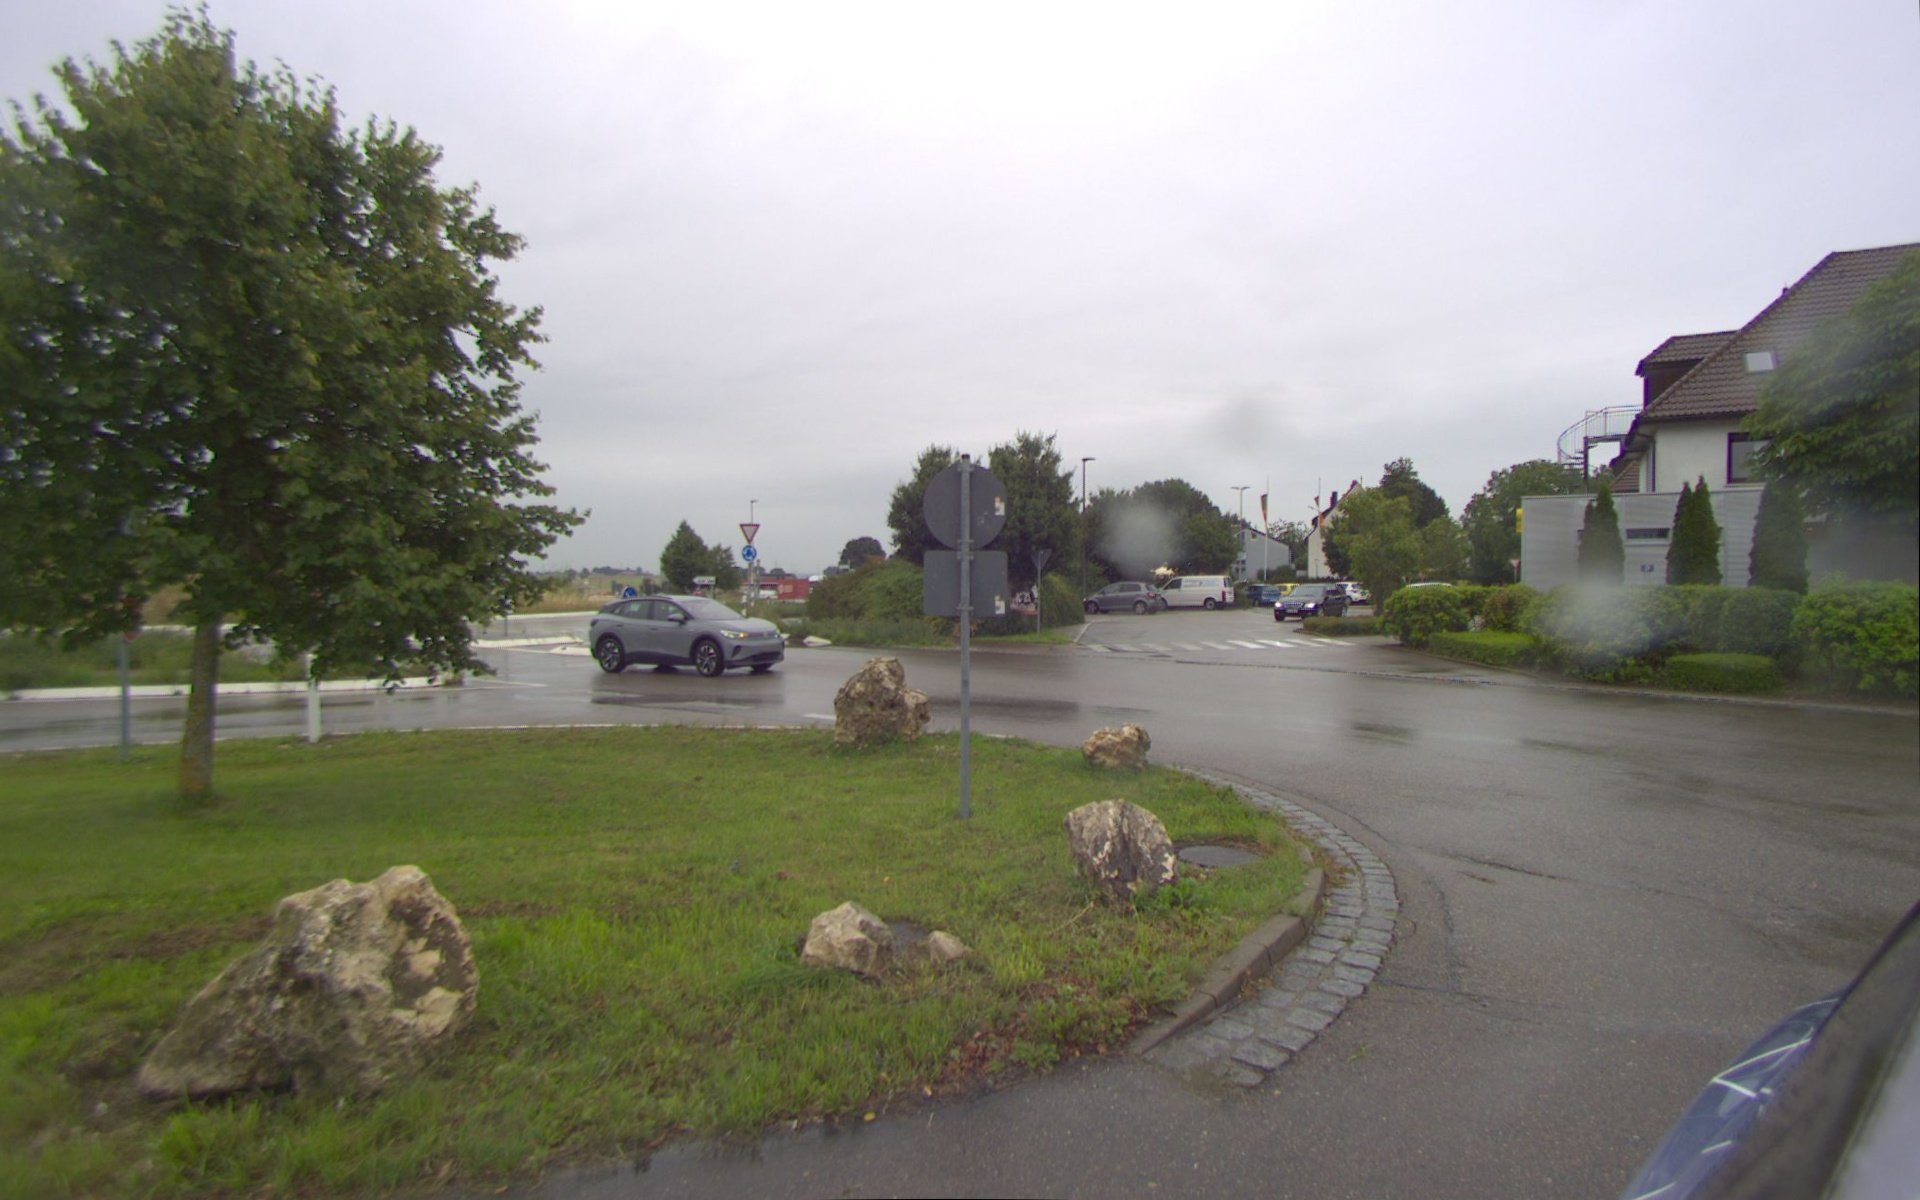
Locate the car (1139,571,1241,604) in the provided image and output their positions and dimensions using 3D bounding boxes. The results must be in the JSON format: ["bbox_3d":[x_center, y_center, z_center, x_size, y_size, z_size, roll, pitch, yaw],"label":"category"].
[{"bbox_3d":[13.227,-0.694,58.333,5.337,1.743,1.977,-1,0,33],"label":"car"}]

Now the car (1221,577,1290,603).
[{"bbox_3d":[18.573,-0.622,63.866,1.958,1.570,4.658,-1,0,-15],"label":"car"}]

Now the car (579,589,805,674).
[{"bbox_3d":[-5.701,0.628,21.474,4.456,1.594,1.982,-1,1,28],"label":"car"}]

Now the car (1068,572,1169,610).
[{"bbox_3d":[7.833,-0.419,50.190,4.574,1.743,1.977,-1,0,33],"label":"car"}]

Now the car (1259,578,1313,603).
[{"bbox_3d":[20.969,-0.598,65.223,1.631,1.568,3.733,-1,0,-13],"label":"car"}]

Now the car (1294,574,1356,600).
[{"bbox_3d":[23.507,-0.812,65.280,1.713,1.589,3.897,-1,0,-18],"label":"car"}]

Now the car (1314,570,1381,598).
[{"bbox_3d":[25.291,-1.034,66.243,1.948,1.749,4.008,-1,0,-19],"label":"car"}]

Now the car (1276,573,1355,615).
[{"bbox_3d":[13.862,-0.250,39.329,1.696,1.442,4.304,0,2,37],"label":"car"}]

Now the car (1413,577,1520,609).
[{"bbox_3d":[23.422,-0.329,46.854,4.325,1.443,1.830,0,1,31],"label":"car"}]
